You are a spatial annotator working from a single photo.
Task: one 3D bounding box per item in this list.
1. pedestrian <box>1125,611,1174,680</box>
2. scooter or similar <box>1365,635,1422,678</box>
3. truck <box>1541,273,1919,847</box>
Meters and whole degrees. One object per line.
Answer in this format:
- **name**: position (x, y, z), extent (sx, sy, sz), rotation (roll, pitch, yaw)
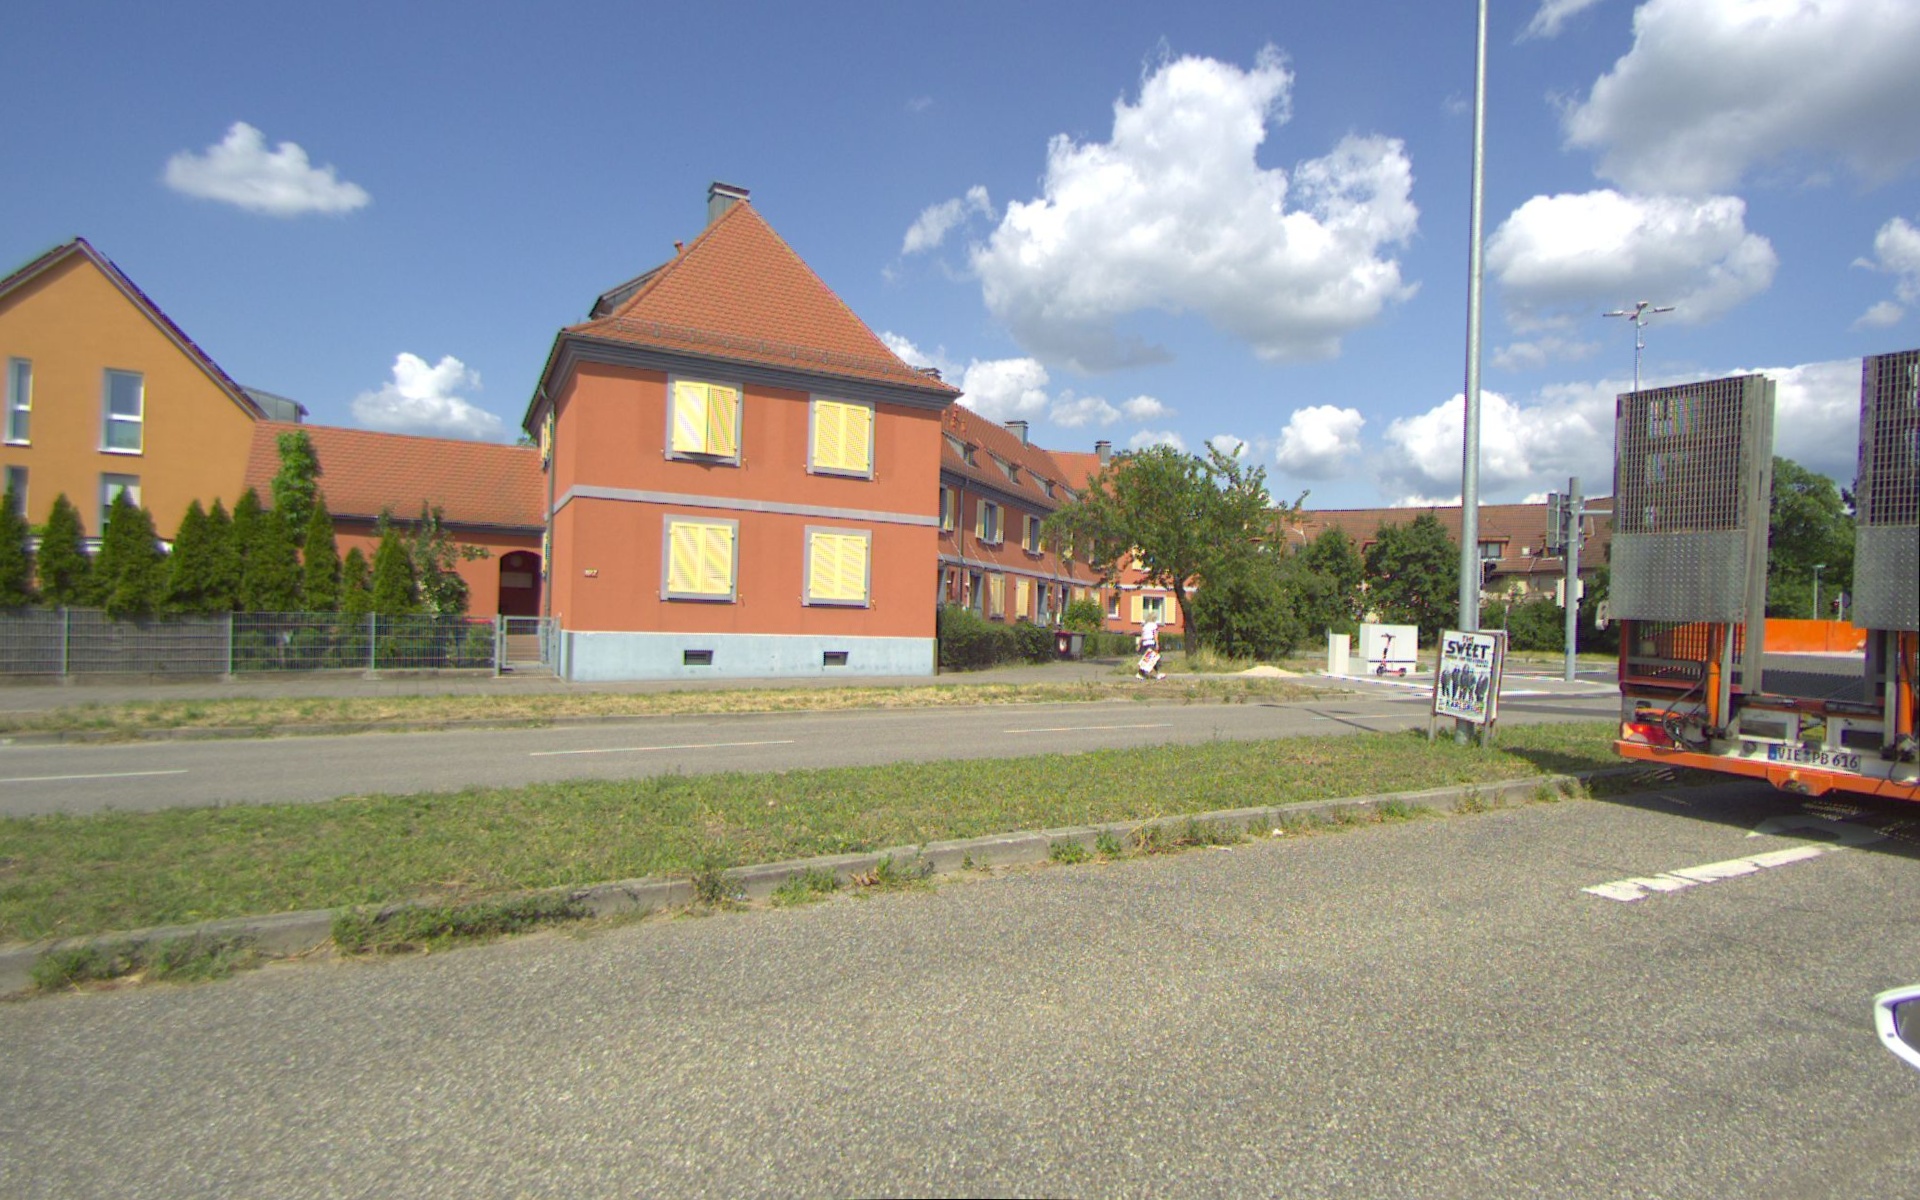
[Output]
- **pedestrian**: position (4.539, 1.085, 24.038), extent (0.841, 1.604, 0.692), rotation (3, 1, -30)
- **scooter or similar**: position (12.700, 1.661, 29.442), extent (1.742, 1.179, 0.586), rotation (3, 0, -31)
- **truck**: position (10.138, -0.035, 9.413), extent (10.941, 3.459, 3.055), rotation (3, 0, -31)
